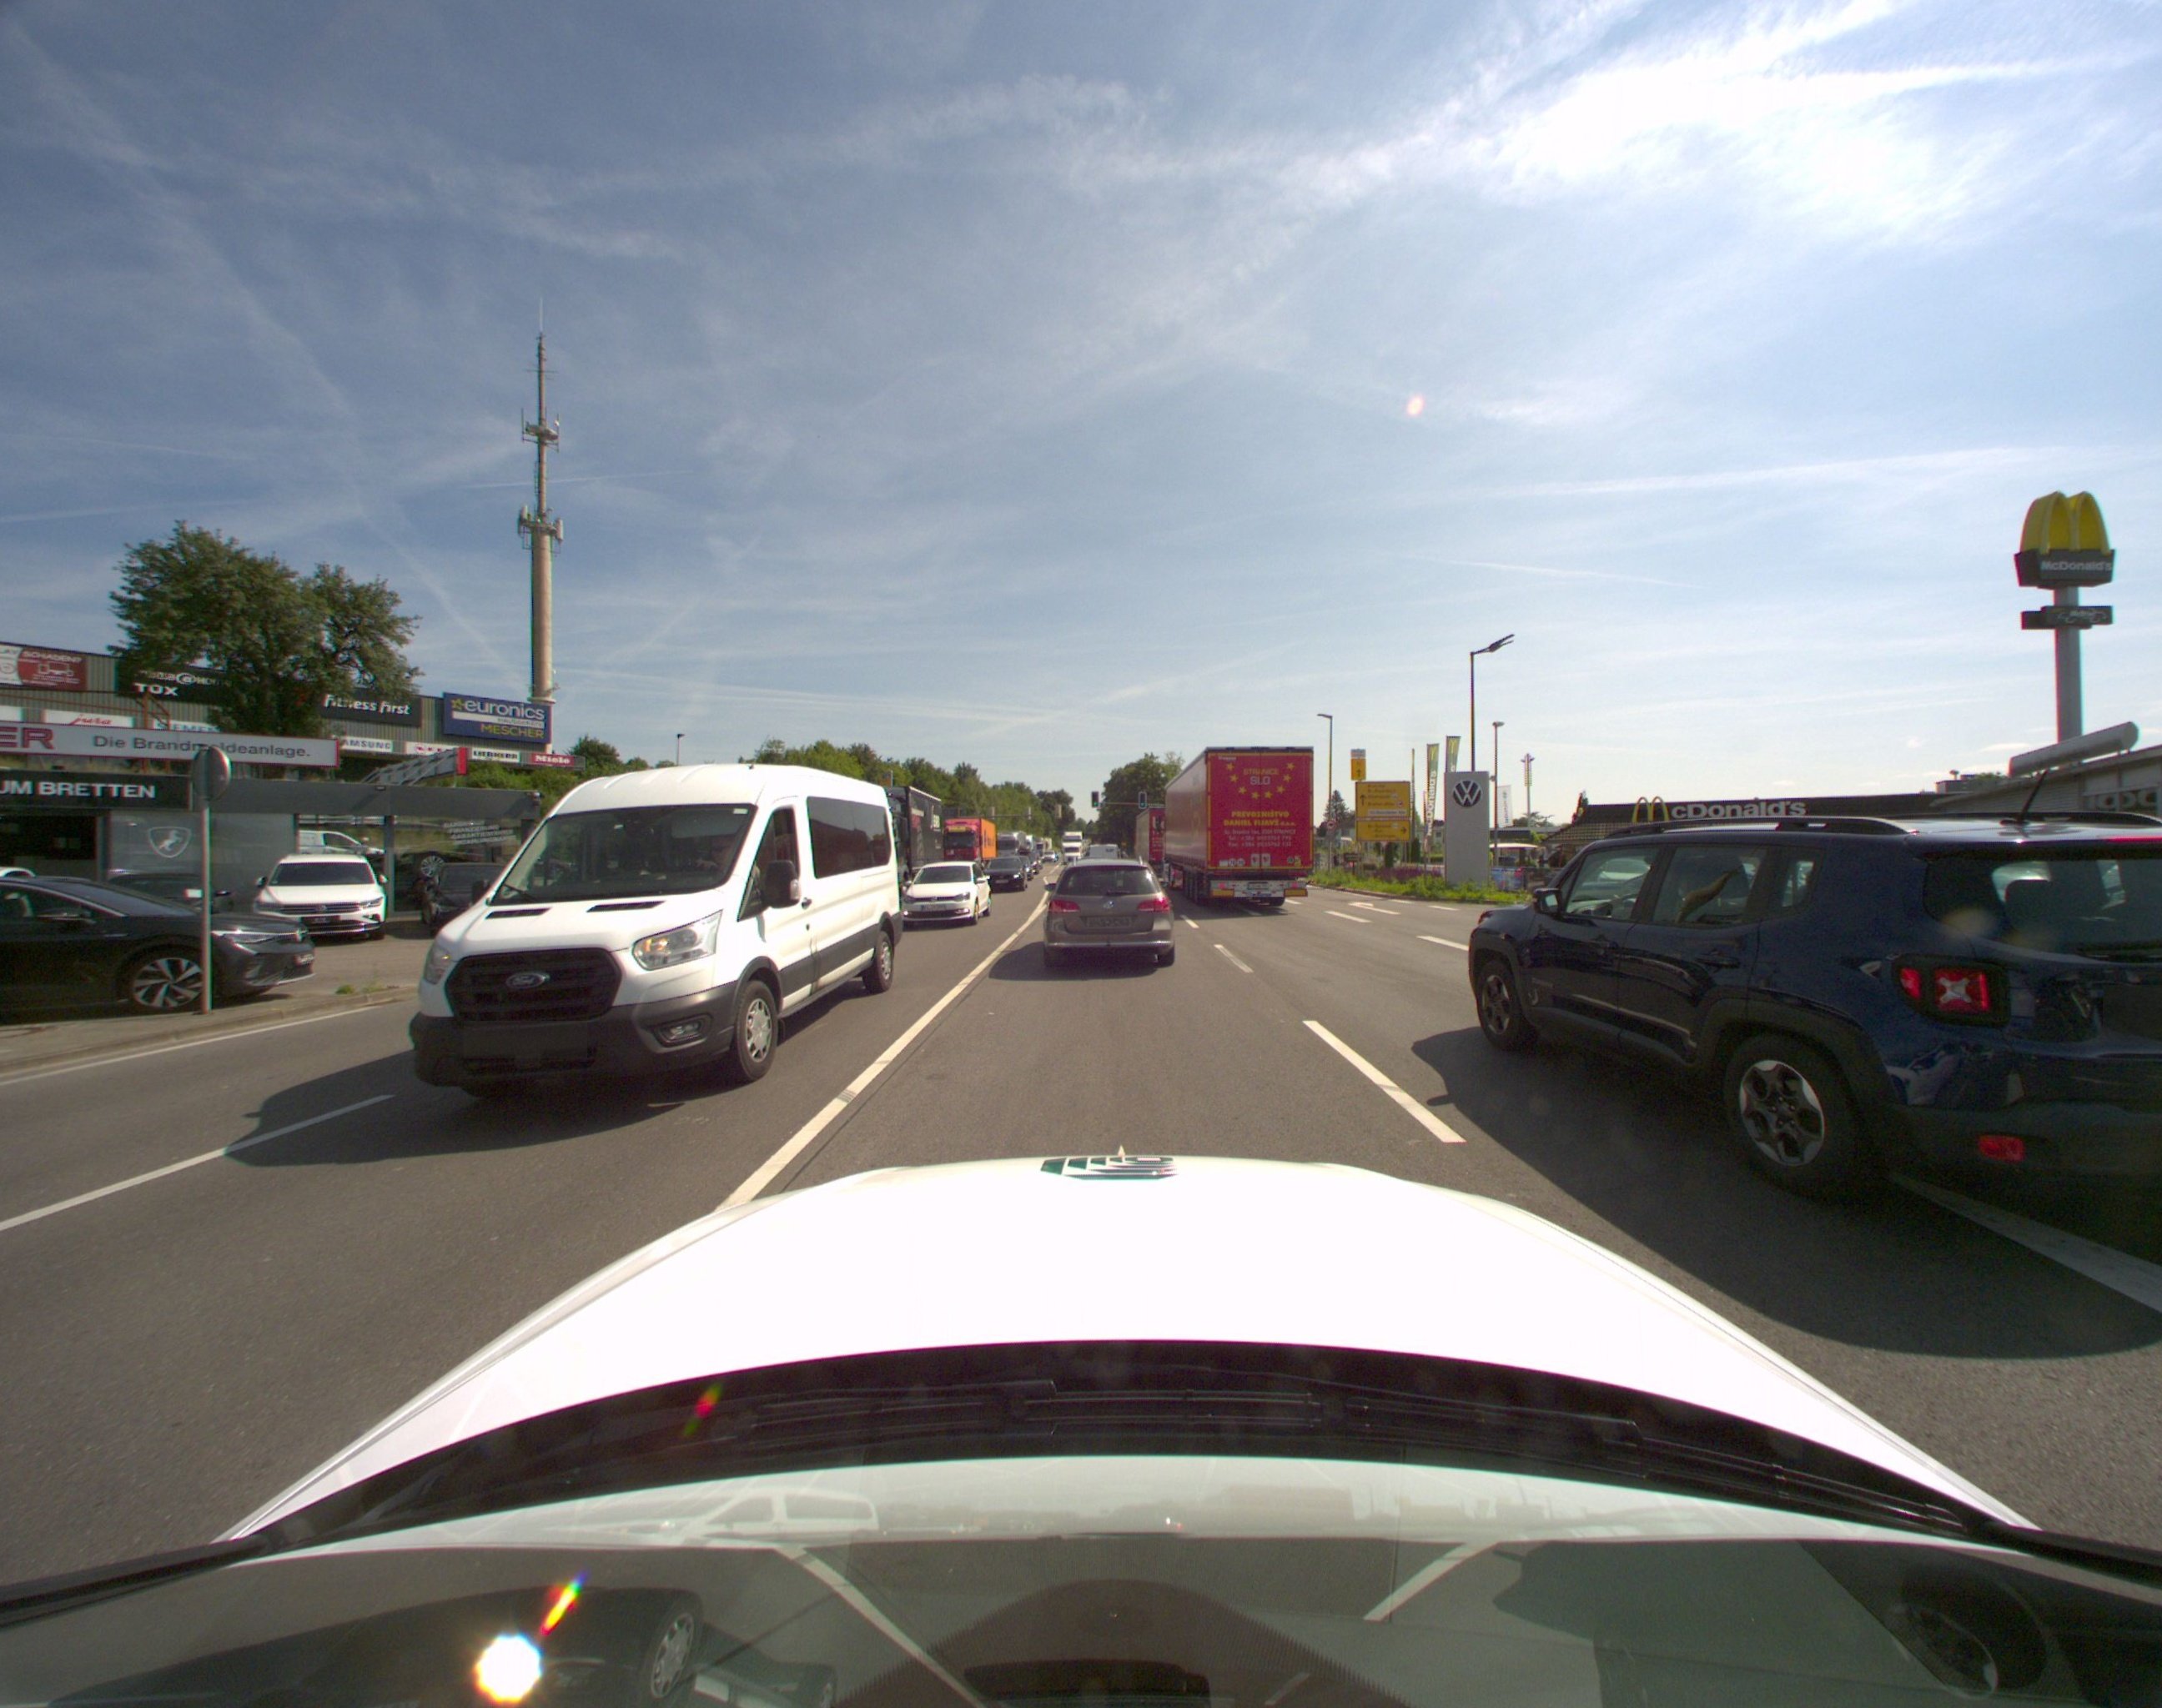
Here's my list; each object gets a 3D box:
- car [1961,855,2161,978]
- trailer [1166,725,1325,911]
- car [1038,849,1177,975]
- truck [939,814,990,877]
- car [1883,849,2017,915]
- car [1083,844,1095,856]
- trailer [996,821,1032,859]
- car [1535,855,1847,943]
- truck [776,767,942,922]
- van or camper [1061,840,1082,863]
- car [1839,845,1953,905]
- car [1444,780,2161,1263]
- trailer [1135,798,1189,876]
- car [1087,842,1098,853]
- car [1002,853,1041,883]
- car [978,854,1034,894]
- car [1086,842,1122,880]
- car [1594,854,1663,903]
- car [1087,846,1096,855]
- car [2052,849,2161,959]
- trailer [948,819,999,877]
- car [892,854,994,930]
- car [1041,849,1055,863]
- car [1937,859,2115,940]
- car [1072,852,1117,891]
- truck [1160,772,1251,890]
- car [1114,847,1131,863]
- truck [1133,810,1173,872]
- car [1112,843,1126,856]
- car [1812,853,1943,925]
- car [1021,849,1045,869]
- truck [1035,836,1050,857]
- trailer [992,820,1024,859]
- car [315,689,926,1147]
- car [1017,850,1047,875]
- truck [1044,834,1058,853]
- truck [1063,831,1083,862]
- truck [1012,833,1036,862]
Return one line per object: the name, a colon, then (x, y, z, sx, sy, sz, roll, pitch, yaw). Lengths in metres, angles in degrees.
car: (15.317, 0.846, 11.182, 1.778, 1.654, 4.044, 1, -1, -24)
trailer: (4.572, -0.879, 25.813, 2.828, 4.365, 13.174, 1, 0, 2)
car: (0.304, 0.709, 12.075, 1.686, 1.513, 3.998, -1, 0, -1)
truck: (-7.822, -0.562, 55.386, 2.714, 3.998, 6.052, -1, 0, -2)
car: (22.880, 0.684, 21.604, 1.753, 1.518, 3.986, -1, 0, 37)
car: (1.388, -0.731, 138.906, 1.987, 2.013, 3.999, -1, 0, -1)
trailer: (-7.832, -1.593, 97.190, 2.681, 4.147, 13.885, -1, 0, 2)
car: (12.147, 0.843, 16.490, 1.977, 1.332, 4.758, 5, -1, -44)
truck: (-6.679, -0.267, 26.351, 2.703, 3.998, 9.971, -1, 0, -1)
van or camper: (-1.067, -0.277, 96.784, 2.323, 2.600, 6.978, -1, 0, 0)
car: (25.797, 0.598, 25.951, 1.888, 1.671, 4.849, -1, 0, 37)
car: (3.882, 0.563, 4.814, 1.764, 1.654, 4.001, -1, 0, 2)
trailer: (4.888, -0.964, 51.438, 2.386, 4.243, 13.082, -1, 0, 2)
car: (2.095, -1.184, 154.341, 1.987, 2.013, 3.999, -1, 0, -1)
car: (-3.362, 0.777, 46.924, 1.855, 1.524, 4.588, -2, 1, 0)
car: (-3.098, 0.799, 34.558, 1.705, 1.443, 4.381, -3, 0, 2)
car: (1.218, 0.356, 44.945, 1.765, 1.936, 3.976, -1, 0, -1)
car: (20.115, 0.850, 29.827, 1.837, 1.576, 4.260, -1, 0, 37)
car: (2.319, -0.815, 186.574, 1.987, 2.013, 3.999, -1, 0, -1)
car: (18.905, 0.791, 14.228, 4.036, 1.671, 1.759, -2, 0, -29)
trailer: (-8.121, -0.459, 62.982, 2.714, 3.998, 12.224, -1, 0, -2)
car: (-3.183, 0.816, 19.544, 1.648, 1.555, 4.000, -3, 0, 0)
car: (-4.525, 0.254, 113.158, 1.837, 1.732, 4.587, 0, 1, -1)
car: (20.299, 0.897, 17.695, 1.728, 1.476, 3.820, -1, 0, 37)
car: (0.535, 0.712, 34.627, 1.765, 1.513, 3.998, -1, 0, -1)
truck: (4.809, -0.845, 32.522, 2.859, 4.281, 5.841, 1, 0, 1)
car: (5.475, 0.175, 108.023, 1.987, 2.013, 3.999, -1, 0, -1)
truck: (5.043, -0.879, 58.025, 2.397, 4.127, 5.523, -1, 0, 1)
car: (6.063, -0.791, 130.887, 1.987, 2.013, 3.999, -1, 0, -1)
car: (19.337, 0.778, 19.953, 1.727, 1.491, 4.291, -1, 0, 37)
car: (-4.350, 0.448, 74.915, 1.915, 1.602, 4.587, -3, 1, -1)
truck: (-7.784, -1.506, 165.953, 2.721, 3.999, 9.616, -1, 0, -1)
trailer: (-8.056, -1.567, 90.726, 2.635, 4.105, 6.183, -1, 0, 2)
car: (-3.248, 0.341, 8.123, 2.052, 2.510, 7.112, -1, 0, -1)
car: (-3.485, 0.565, 58.587, 1.903, 1.602, 4.587, -3, 1, -1)
truck: (-6.730, -2.262, 183.637, 2.821, 4.116, 9.677, -1, 0, -1)
truck: (-1.102, -1.008, 110.582, 2.530, 4.087, 6.262, -1, 0, -1)
truck: (-8.412, -0.987, 120.611, 3.178, 4.079, 6.343, -1, 0, -1)
